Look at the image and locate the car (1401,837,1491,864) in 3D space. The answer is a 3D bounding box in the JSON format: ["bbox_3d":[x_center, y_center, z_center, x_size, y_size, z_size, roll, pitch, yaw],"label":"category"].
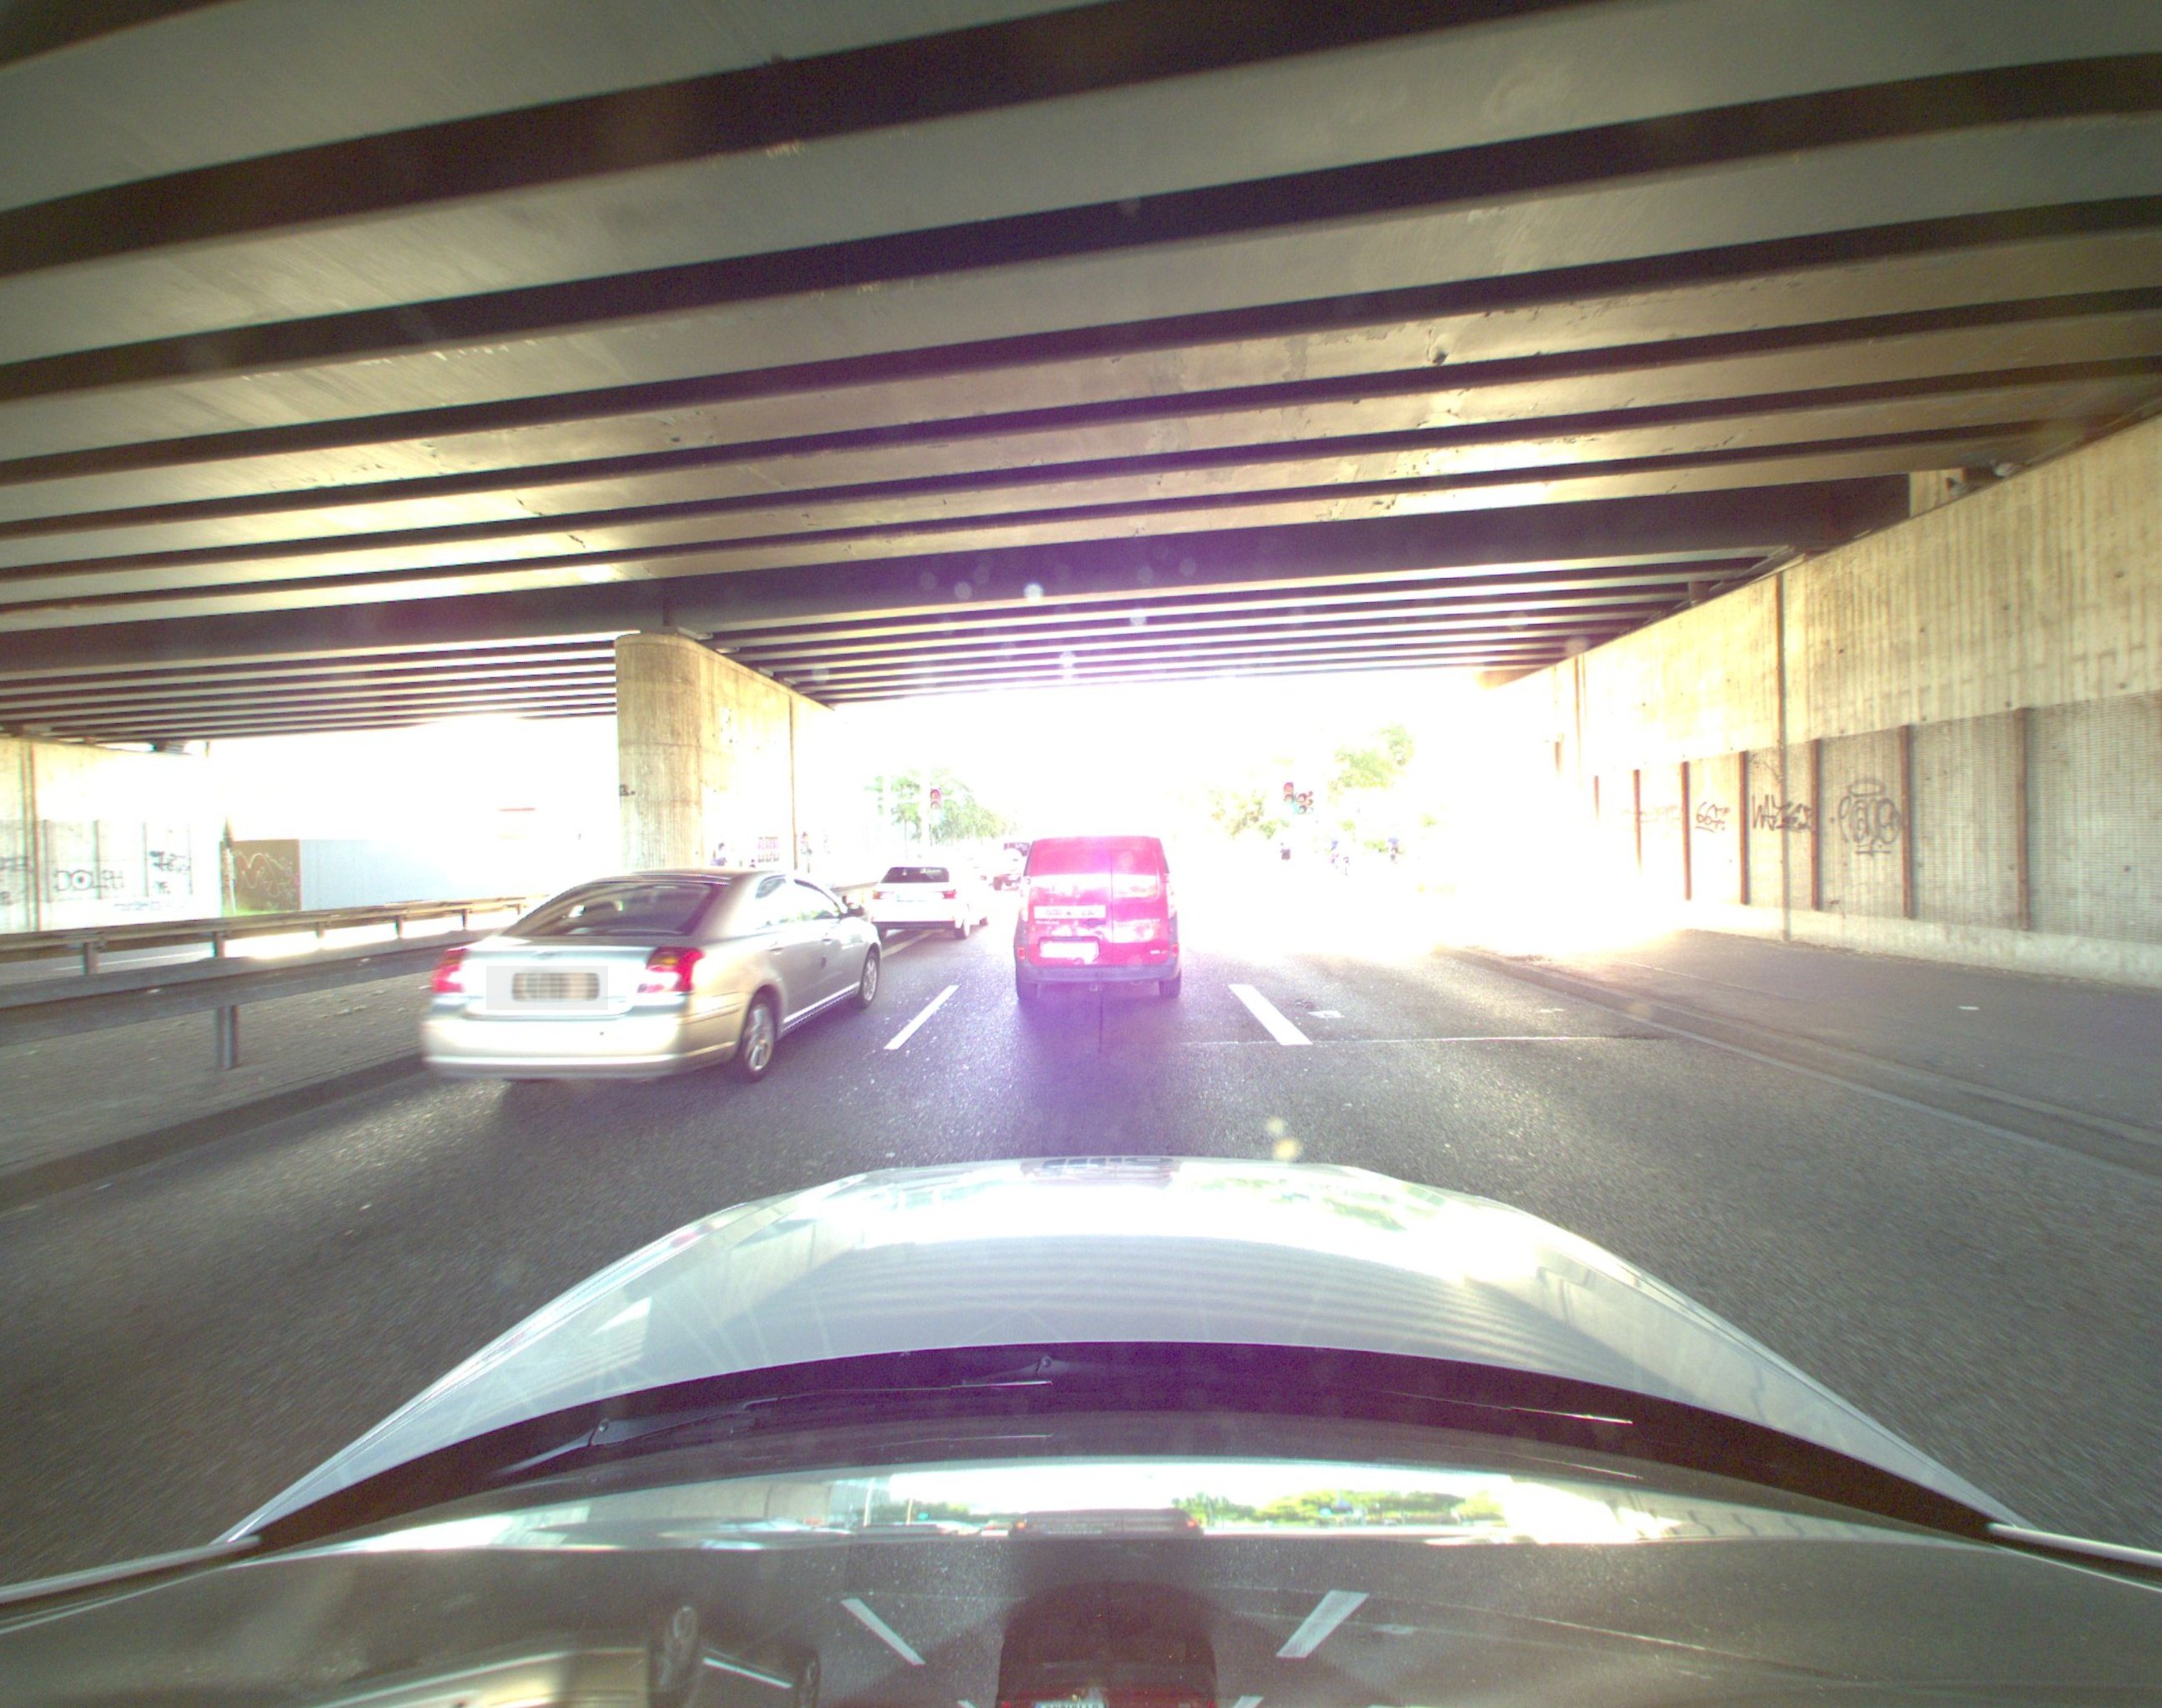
[{"bbox_3d":[21.481,-0.208,48.052,4.521,1.514,1.832,-1,-1,8],"label":"car"}]

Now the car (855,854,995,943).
[{"bbox_3d":[-2.832,0.752,15.622,1.806,1.438,3.733,-1,1,2],"label":"car"}]

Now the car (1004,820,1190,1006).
[{"bbox_3d":[0.219,0.597,9.927,1.798,1.794,4.001,0,-1,2],"label":"car"}]

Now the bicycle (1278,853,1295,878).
[{"bbox_3d":[8.545,0.484,33.862,0.588,1.023,1.756,-1,-1,11],"label":"bicycle"}]

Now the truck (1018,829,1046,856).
[{"bbox_3d":[-5.857,-1.361,98.414,2.399,3.026,6.661,-4,0,3],"label":"truck"}]

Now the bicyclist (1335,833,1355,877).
[{"bbox_3d":[9.306,0.038,28.741,0.588,1.548,0.771,-1,-1,11],"label":"bicyclist"}]

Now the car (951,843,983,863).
[{"bbox_3d":[-10.241,-0.118,73.415,1.816,1.625,4.535,-4,0,4],"label":"car"}]

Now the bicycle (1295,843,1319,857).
[{"bbox_3d":[17.143,-0.309,61.854,1.734,1.023,0.595,-1,-1,10],"label":"bicycle"}]

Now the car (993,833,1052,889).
[{"bbox_3d":[-2.170,0.287,31.246,1.794,1.989,4.590,0,-1,2],"label":"car"}]

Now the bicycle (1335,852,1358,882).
[{"bbox_3d":[9.312,0.456,28.603,0.588,1.023,1.756,-1,-1,11],"label":"bicycle"}]

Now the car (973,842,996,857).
[{"bbox_3d":[-9.598,-0.442,81.440,1.641,1.404,3.978,-4,0,1],"label":"car"}]

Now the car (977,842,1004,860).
[{"bbox_3d":[-7.803,-0.258,70.357,1.629,1.443,4.080,-4,0,3],"label":"car"}]

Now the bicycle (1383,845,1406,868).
[{"bbox_3d":[15.528,0.114,40.385,0.664,1.023,1.754,-1,3,7],"label":"bicycle"}]

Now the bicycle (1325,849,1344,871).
[{"bbox_3d":[11.765,0.277,37.905,0.667,1.023,2.062,-1,-1,13],"label":"bicycle"}]

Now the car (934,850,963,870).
[{"bbox_3d":[-12.790,0.565,78.925,1.818,1.737,4.531,-4,0,2],"label":"car"}]

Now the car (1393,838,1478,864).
[{"bbox_3d":[22.013,-0.180,50.665,4.521,1.514,1.832,-1,-1,8],"label":"car"}]

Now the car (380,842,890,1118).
[{"bbox_3d":[-2.970,0.702,6.651,1.727,1.480,4.318,-1,0,0],"label":"car"}]

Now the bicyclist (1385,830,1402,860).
[{"bbox_3d":[15.519,-0.451,40.444,0.646,1.481,0.619,-1,1,6],"label":"bicyclist"}]

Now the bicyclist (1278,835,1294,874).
[{"bbox_3d":[8.526,0.035,33.864,0.588,1.613,0.945,-1,-1,11],"label":"bicyclist"}]

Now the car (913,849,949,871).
[{"bbox_3d":[-13.071,0.485,71.351,1.816,1.737,4.635,-4,0,4],"label":"car"}]

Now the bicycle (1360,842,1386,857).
[{"bbox_3d":[21.263,-0.330,59.396,1.733,1.023,0.596,-1,-1,13],"label":"bicycle"}]

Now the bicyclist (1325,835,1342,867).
[{"bbox_3d":[11.727,-0.145,37.794,0.660,1.474,0.753,-1,-1,12],"label":"bicyclist"}]

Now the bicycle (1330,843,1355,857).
[{"bbox_3d":[19.458,-0.318,60.592,1.734,1.023,0.595,-1,-1,10],"label":"bicycle"}]
